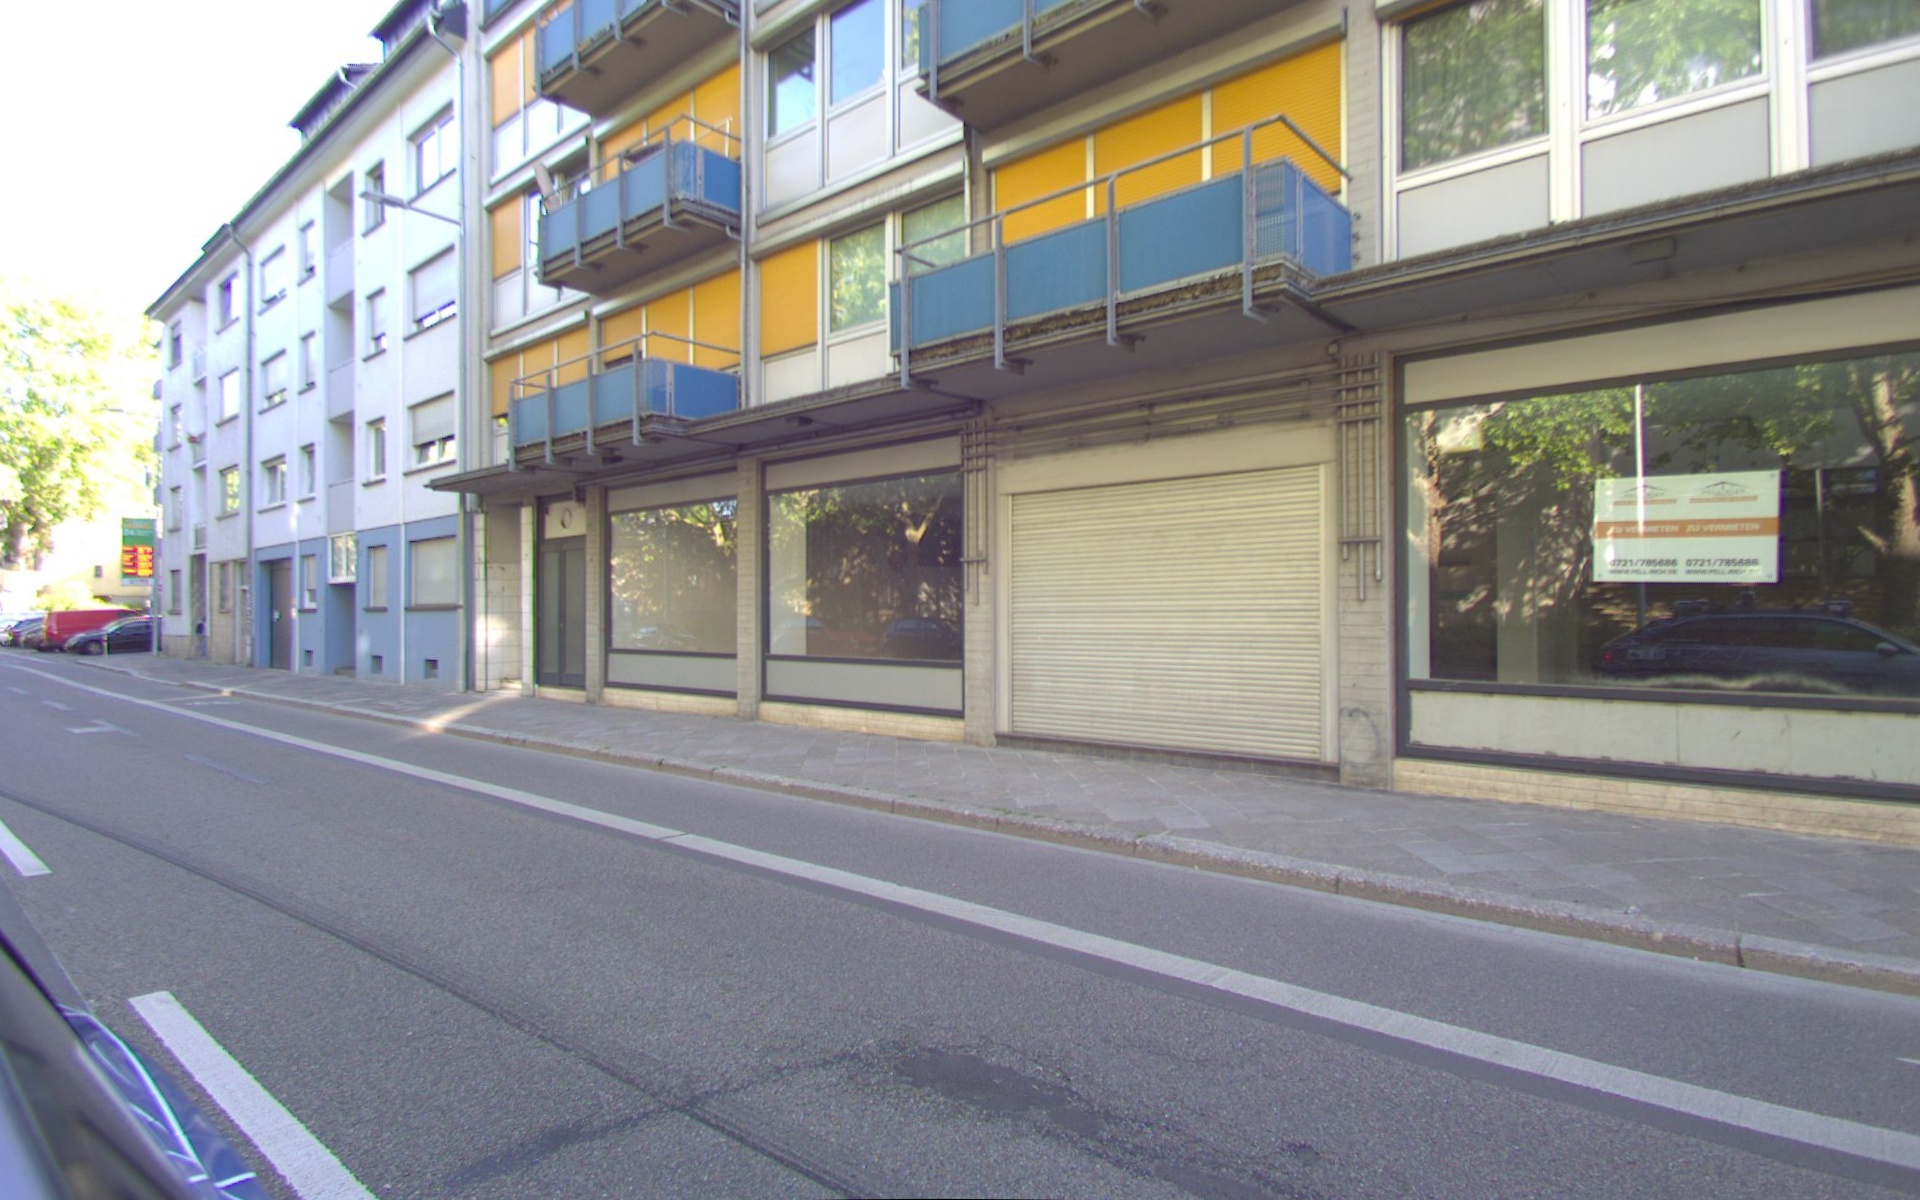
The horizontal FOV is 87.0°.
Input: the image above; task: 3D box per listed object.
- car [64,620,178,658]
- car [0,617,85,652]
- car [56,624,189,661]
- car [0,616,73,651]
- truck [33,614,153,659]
[{"bbox_3d":[-38.036,1.737,45.940,1.657,1.583,3.762,-1,0,41],"label":"car"},{"bbox_3d":[-56.049,2.074,61.470,2.000,1.971,4.180,-1,0,43],"label":"car"},{"bbox_3d":[-36.486,1.801,44.157,1.657,1.417,4.269,-1,0,40],"label":"car"},{"bbox_3d":[-59.333,2.103,64.400,2.000,2.052,4.180,-1,0,43],"label":"car"},{"bbox_3d":[-40.716,1.655,47.574,1.999,1.939,4.040,-1,0,40],"label":"truck"}]
